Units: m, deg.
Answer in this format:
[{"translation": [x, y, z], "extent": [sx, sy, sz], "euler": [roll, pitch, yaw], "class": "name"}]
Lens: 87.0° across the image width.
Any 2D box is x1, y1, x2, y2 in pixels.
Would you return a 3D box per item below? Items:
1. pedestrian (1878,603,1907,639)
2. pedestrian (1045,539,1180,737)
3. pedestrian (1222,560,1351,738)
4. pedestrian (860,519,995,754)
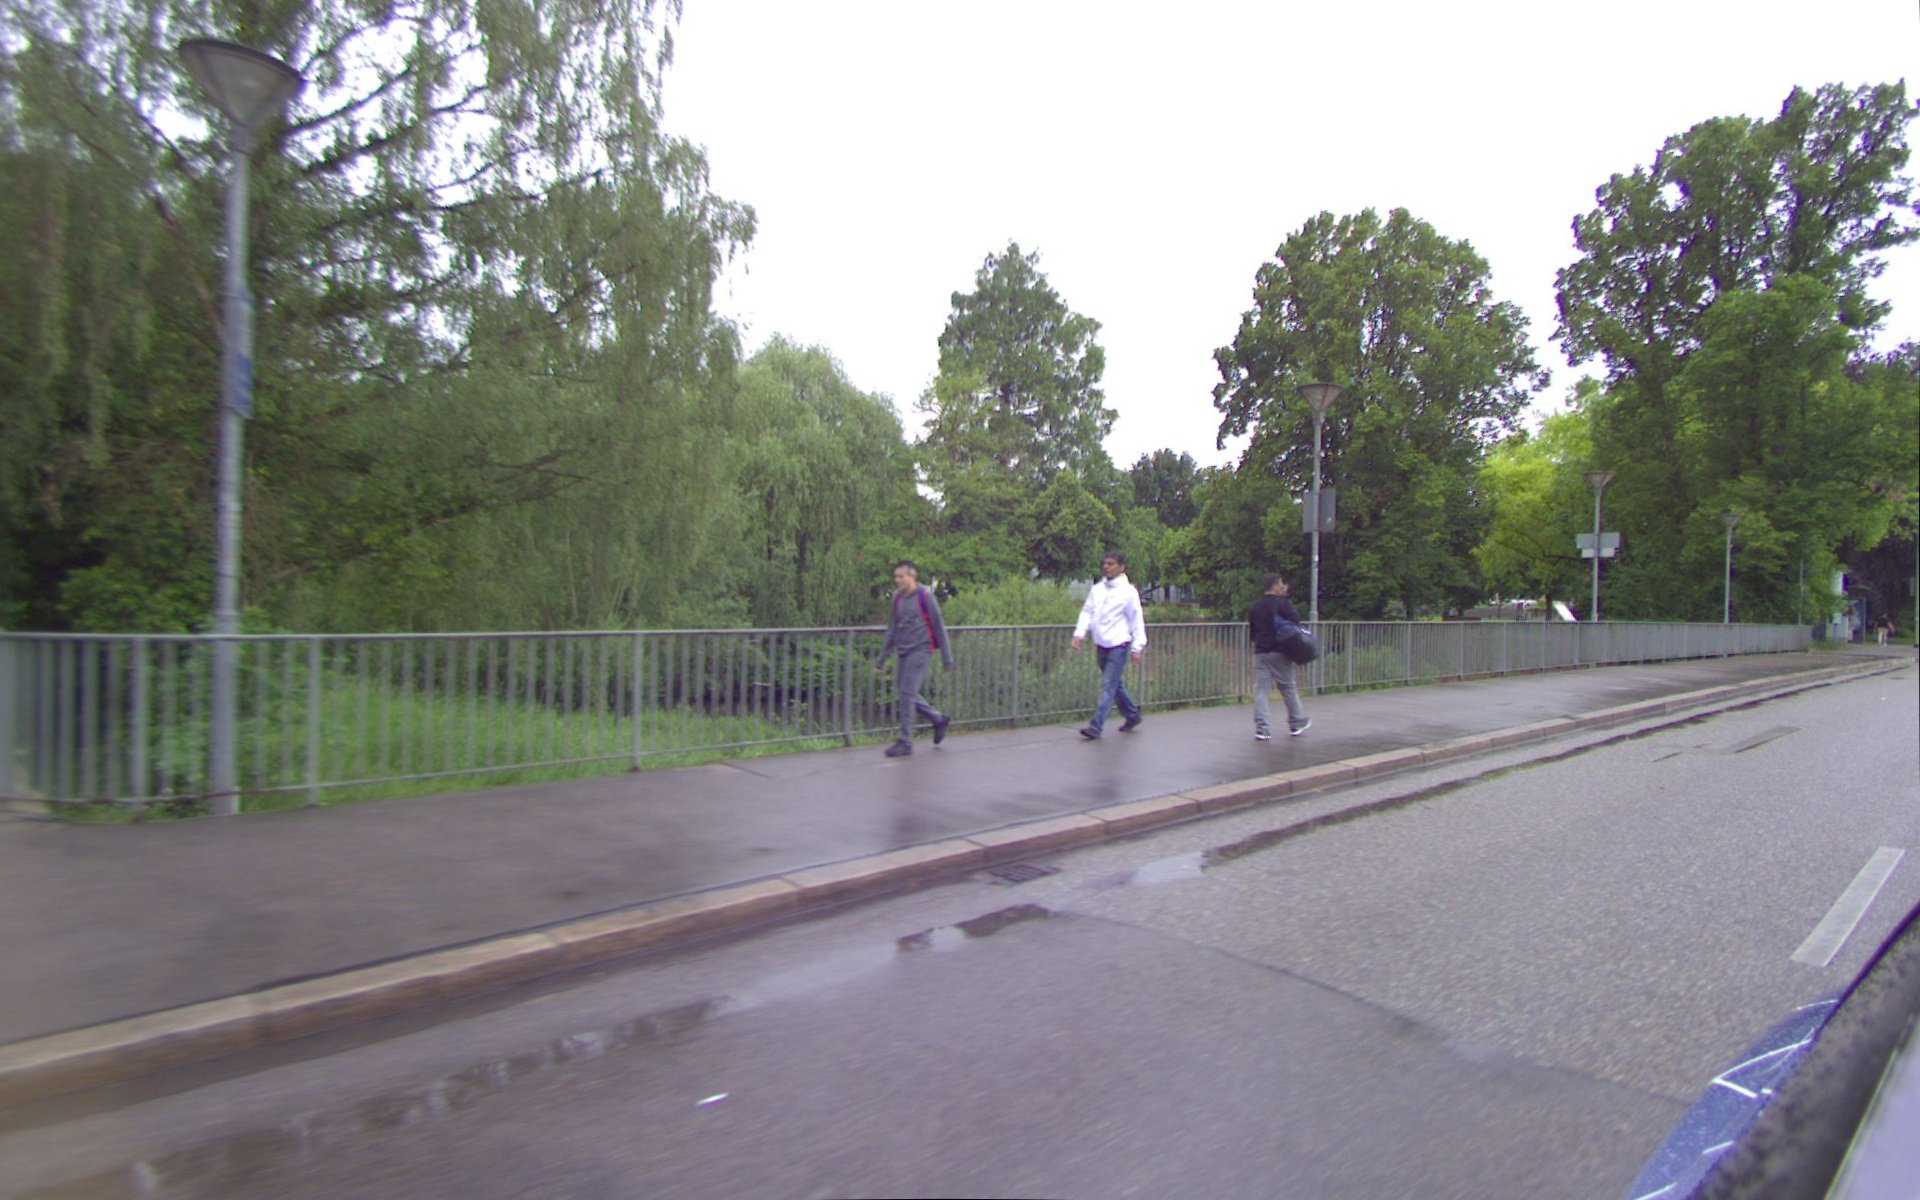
[{"translation": [46.142, 1.039, 50.072], "extent": [1.147, 1.696, 0.849], "euler": [1, 2, -42], "class": "pedestrian"}, {"translation": [1.467, 0.334, 9.700], "extent": [1.042, 1.774, 0.781], "euler": [1, 0, -42], "class": "pedestrian"}, {"translation": [3.198, 0.444, 9.934], "extent": [0.825, 1.639, 0.864], "euler": [1, 1, -41], "class": "pedestrian"}, {"translation": [-0.272, 0.274, 8.429], "extent": [0.767, 1.831, 0.762], "euler": [1, 1, -41], "class": "pedestrian"}]
